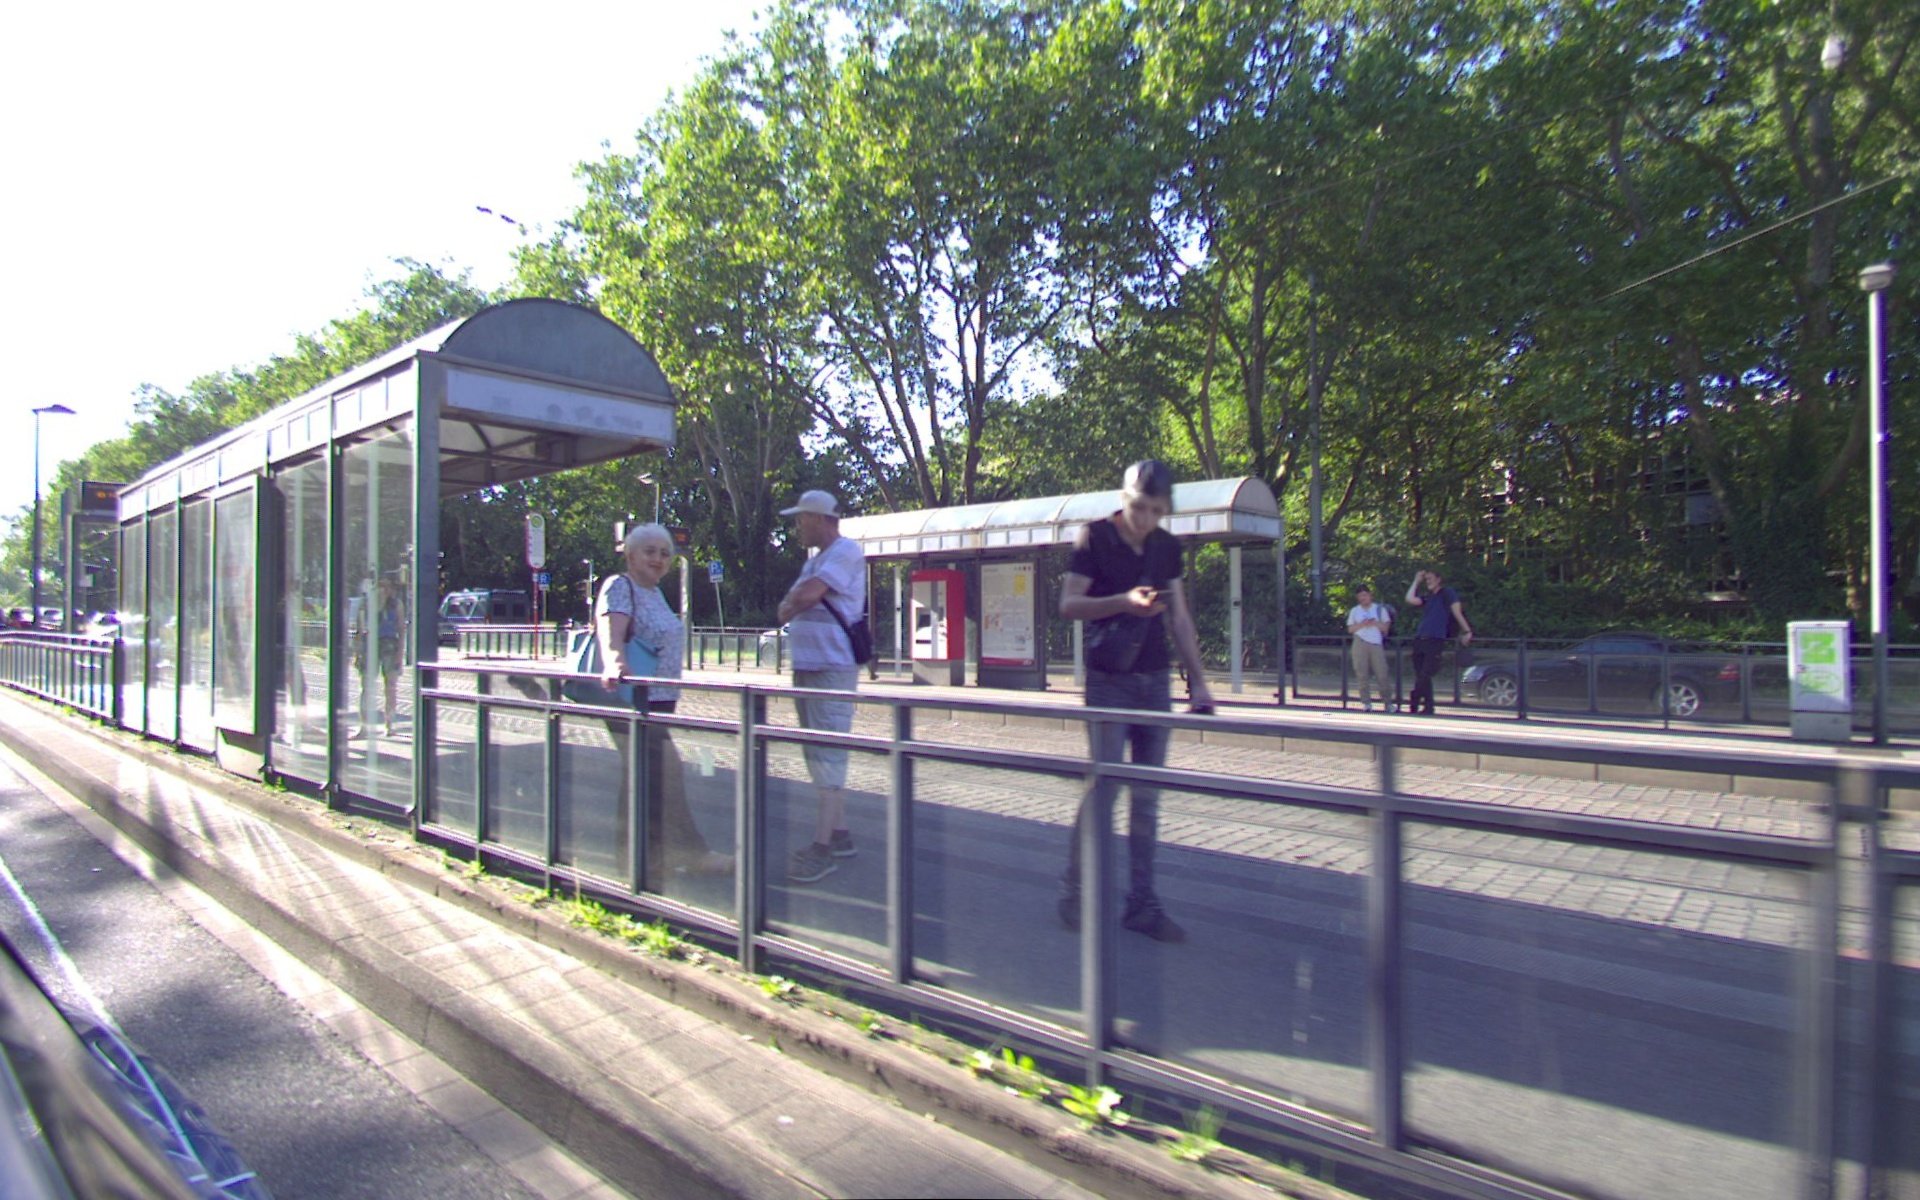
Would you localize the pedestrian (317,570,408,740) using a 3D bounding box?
[{"bbox_3d":[-5.807,0.513,9.836,0.650,1.578,0.582,-1,0,42],"label":"pedestrian"}]

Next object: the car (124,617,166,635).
[{"bbox_3d":[-67.327,2.136,83.609,4.320,1.447,1.809,0,-3,39],"label":"car"}]

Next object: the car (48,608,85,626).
[{"bbox_3d":[-92.253,1.724,104.471,4.385,1.732,1.811,0,-2,35],"label":"car"}]

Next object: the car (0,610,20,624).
[{"bbox_3d":[-125.508,2.209,133.443,3.896,1.753,1.713,0,-3,39],"label":"car"}]

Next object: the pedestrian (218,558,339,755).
[{"bbox_3d":[-6.265,0.488,9.299,0.791,1.707,0.734,-1,0,42],"label":"pedestrian"}]

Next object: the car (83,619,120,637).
[{"bbox_3d":[-78.259,2.584,92.216,4.390,1.517,1.809,0,-3,39],"label":"car"}]

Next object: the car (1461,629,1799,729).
[{"bbox_3d":[10.521,1.168,16.085,4.311,1.302,1.752,0,-3,40],"label":"car"}]

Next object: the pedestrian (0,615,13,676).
[{"bbox_3d":[-22.743,1.050,23.692,0.555,1.417,0.587,1,-3,21],"label":"pedestrian"}]

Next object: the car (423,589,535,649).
[{"bbox_3d":[-21.748,0.864,45.659,6.027,2.540,2.161,0,-3,40],"label":"car"}]

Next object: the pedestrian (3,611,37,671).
[{"bbox_3d":[-23.359,1.020,25.149,0.514,1.483,0.514,-1,-3,42],"label":"pedestrian"}]

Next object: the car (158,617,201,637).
[{"bbox_3d":[-59.417,2.061,77.003,3.848,1.448,1.721,0,-3,39],"label":"car"}]

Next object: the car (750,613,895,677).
[{"bbox_3d":[-3.976,1.263,29.057,3.968,1.664,1.884,0,-2,38],"label":"car"}]

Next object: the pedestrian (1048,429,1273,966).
[{"bbox_3d":[0.680,0.319,3.632,0.701,1.735,0.652,-1,0,6],"label":"pedestrian"}]

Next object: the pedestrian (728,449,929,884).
[{"bbox_3d":[-0.631,0.281,4.794,0.643,1.855,0.712,-1,0,-39],"label":"pedestrian"}]

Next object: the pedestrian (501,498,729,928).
[{"bbox_3d":[-1.440,0.428,4.388,0.789,1.646,0.869,-2,0,-11],"label":"pedestrian"}]

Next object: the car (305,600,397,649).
[{"bbox_3d":[-33.371,1.297,55.406,6.263,2.540,2.162,0,-2,38],"label":"car"}]

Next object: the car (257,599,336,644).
[{"bbox_3d":[-39.580,1.281,60.334,6.044,2.540,2.161,0,-3,39],"label":"car"}]

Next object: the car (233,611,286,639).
[{"bbox_3d":[-45.184,1.594,65.261,3.878,1.741,1.721,0,-3,39],"label":"car"}]

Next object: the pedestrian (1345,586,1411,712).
[{"bbox_3d":[5.330,0.603,12.898,0.626,1.555,0.586,0,0,42],"label":"pedestrian"}]

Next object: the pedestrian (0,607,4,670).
[{"bbox_3d":[-24.009,0.945,24.879,0.512,1.580,0.509,2,-3,-19],"label":"pedestrian"}]

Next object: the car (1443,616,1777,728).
[{"bbox_3d":[10.311,1.061,16.235,4.337,1.522,1.776,0,-3,40],"label":"car"}]

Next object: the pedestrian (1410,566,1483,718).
[{"bbox_3d":[5.947,0.489,12.373,0.650,1.785,0.641,0,0,44],"label":"pedestrian"}]

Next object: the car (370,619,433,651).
[{"bbox_3d":[-28.322,1.766,51.281,3.262,1.524,1.636,0,-2,38],"label":"car"}]

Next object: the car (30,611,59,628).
[{"bbox_3d":[-104.133,2.247,115.092,4.390,1.854,1.809,0,-3,39],"label":"car"}]
